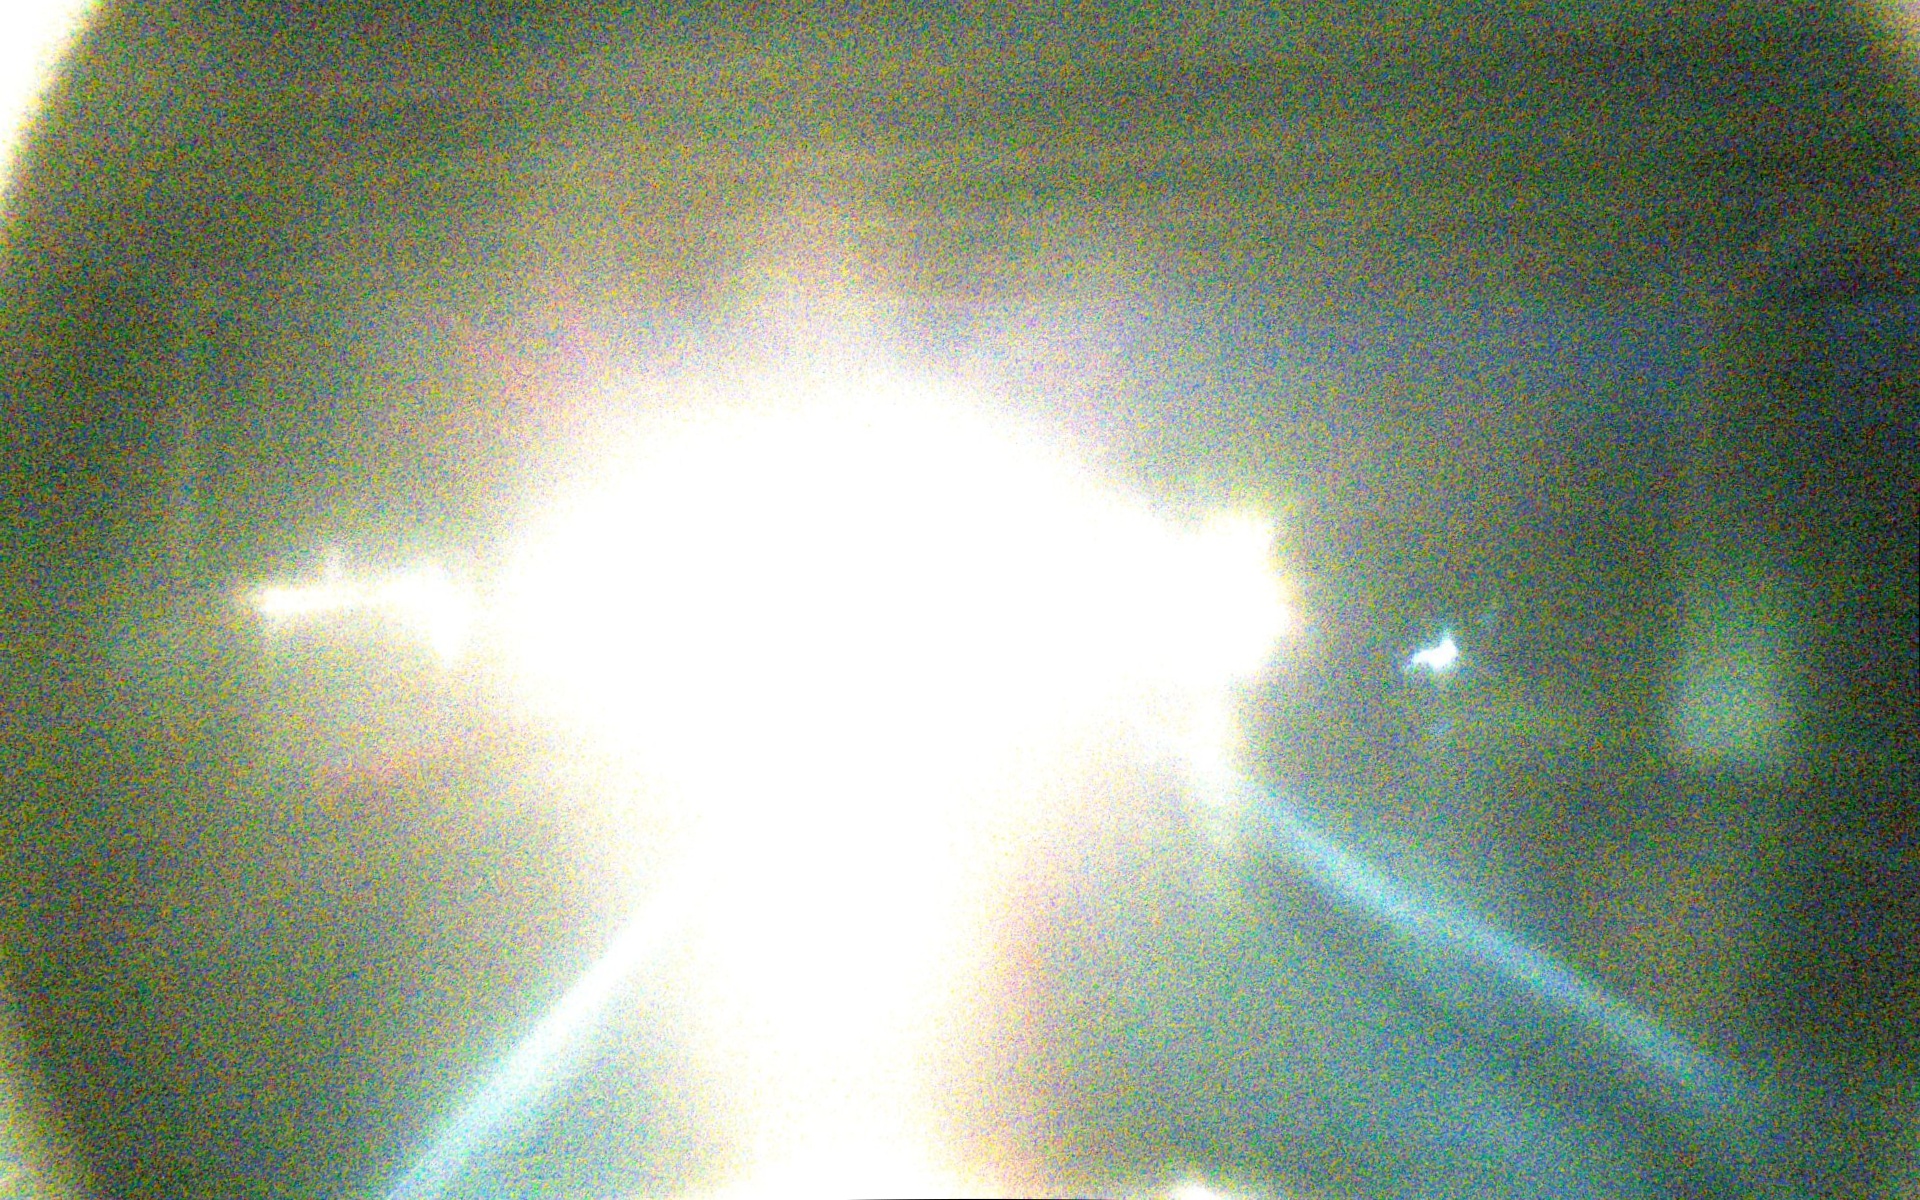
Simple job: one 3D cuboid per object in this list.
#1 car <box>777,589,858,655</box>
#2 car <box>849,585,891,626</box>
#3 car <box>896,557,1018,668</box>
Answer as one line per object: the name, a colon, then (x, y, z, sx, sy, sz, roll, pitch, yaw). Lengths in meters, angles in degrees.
car: (-3.828, 0.561, 44.909, 1.861, 1.673, 3.791, 1, 0, -1)
car: (-4.015, 0.232, 73.157, 1.755, 1.721, 3.997, 1, 0, -4)
car: (-0.127, 0.187, 26.962, 1.773, 1.650, 3.998, 1, 0, -3)
